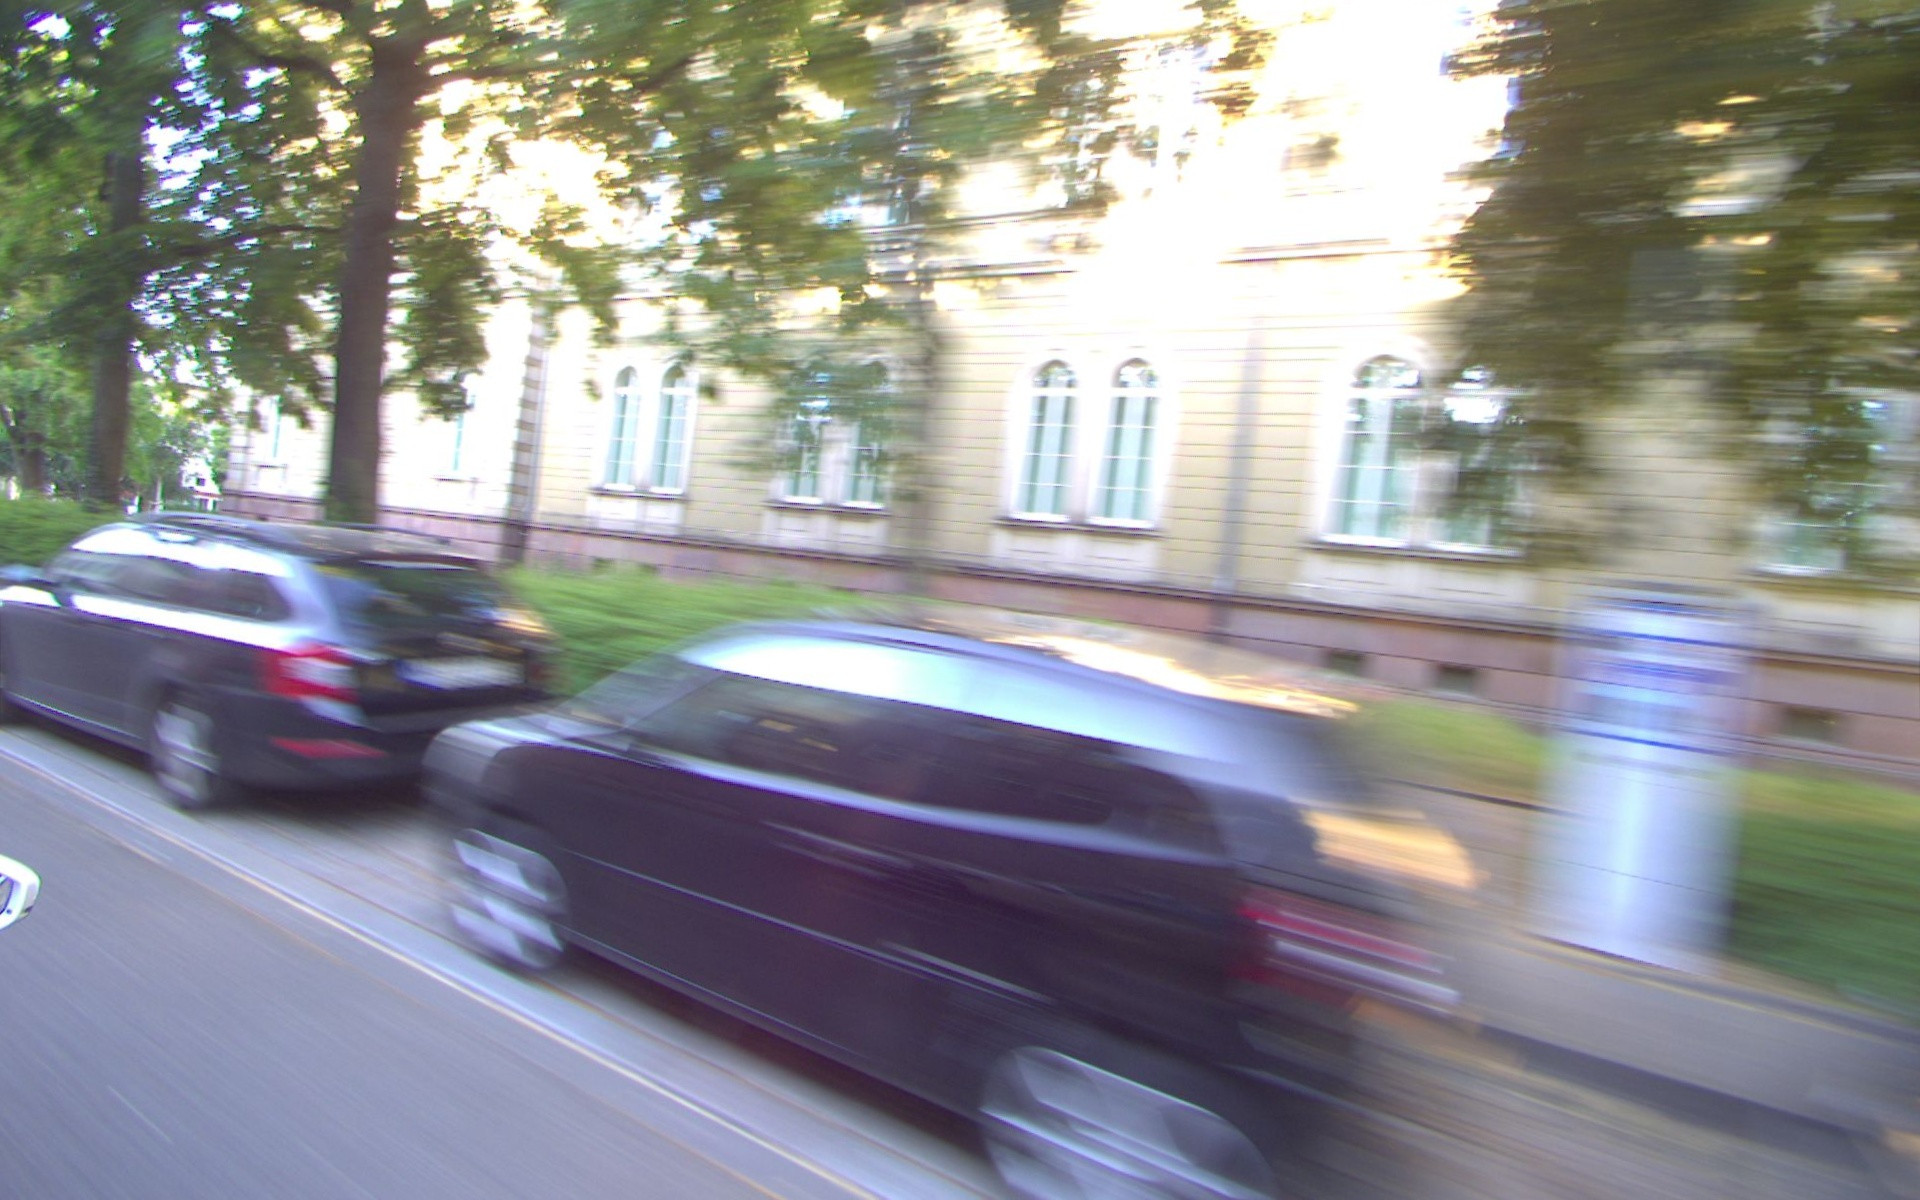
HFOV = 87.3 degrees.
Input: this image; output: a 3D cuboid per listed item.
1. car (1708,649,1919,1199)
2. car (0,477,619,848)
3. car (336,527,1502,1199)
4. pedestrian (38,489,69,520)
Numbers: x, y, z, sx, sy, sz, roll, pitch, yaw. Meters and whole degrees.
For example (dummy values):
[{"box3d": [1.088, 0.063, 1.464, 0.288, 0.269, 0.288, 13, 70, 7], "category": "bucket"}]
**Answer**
[{"box3d": [3.780, 1.126, 1.013, 4.545, 1.555, 1.723, 6, 4, 30], "category": "car"}, {"box3d": [-4.402, 0.178, 6.253, 4.446, 1.525, 1.737, 6, 0, 30], "category": "car"}, {"box3d": [-0.422, 0.659, 3.821, 4.122, 1.555, 1.722, 6, 4, 33], "category": "car"}, {"box3d": [-45.182, -4.757, 50.162, 0.773, 1.364, 0.761, 7, 1, 14], "category": "pedestrian"}]
